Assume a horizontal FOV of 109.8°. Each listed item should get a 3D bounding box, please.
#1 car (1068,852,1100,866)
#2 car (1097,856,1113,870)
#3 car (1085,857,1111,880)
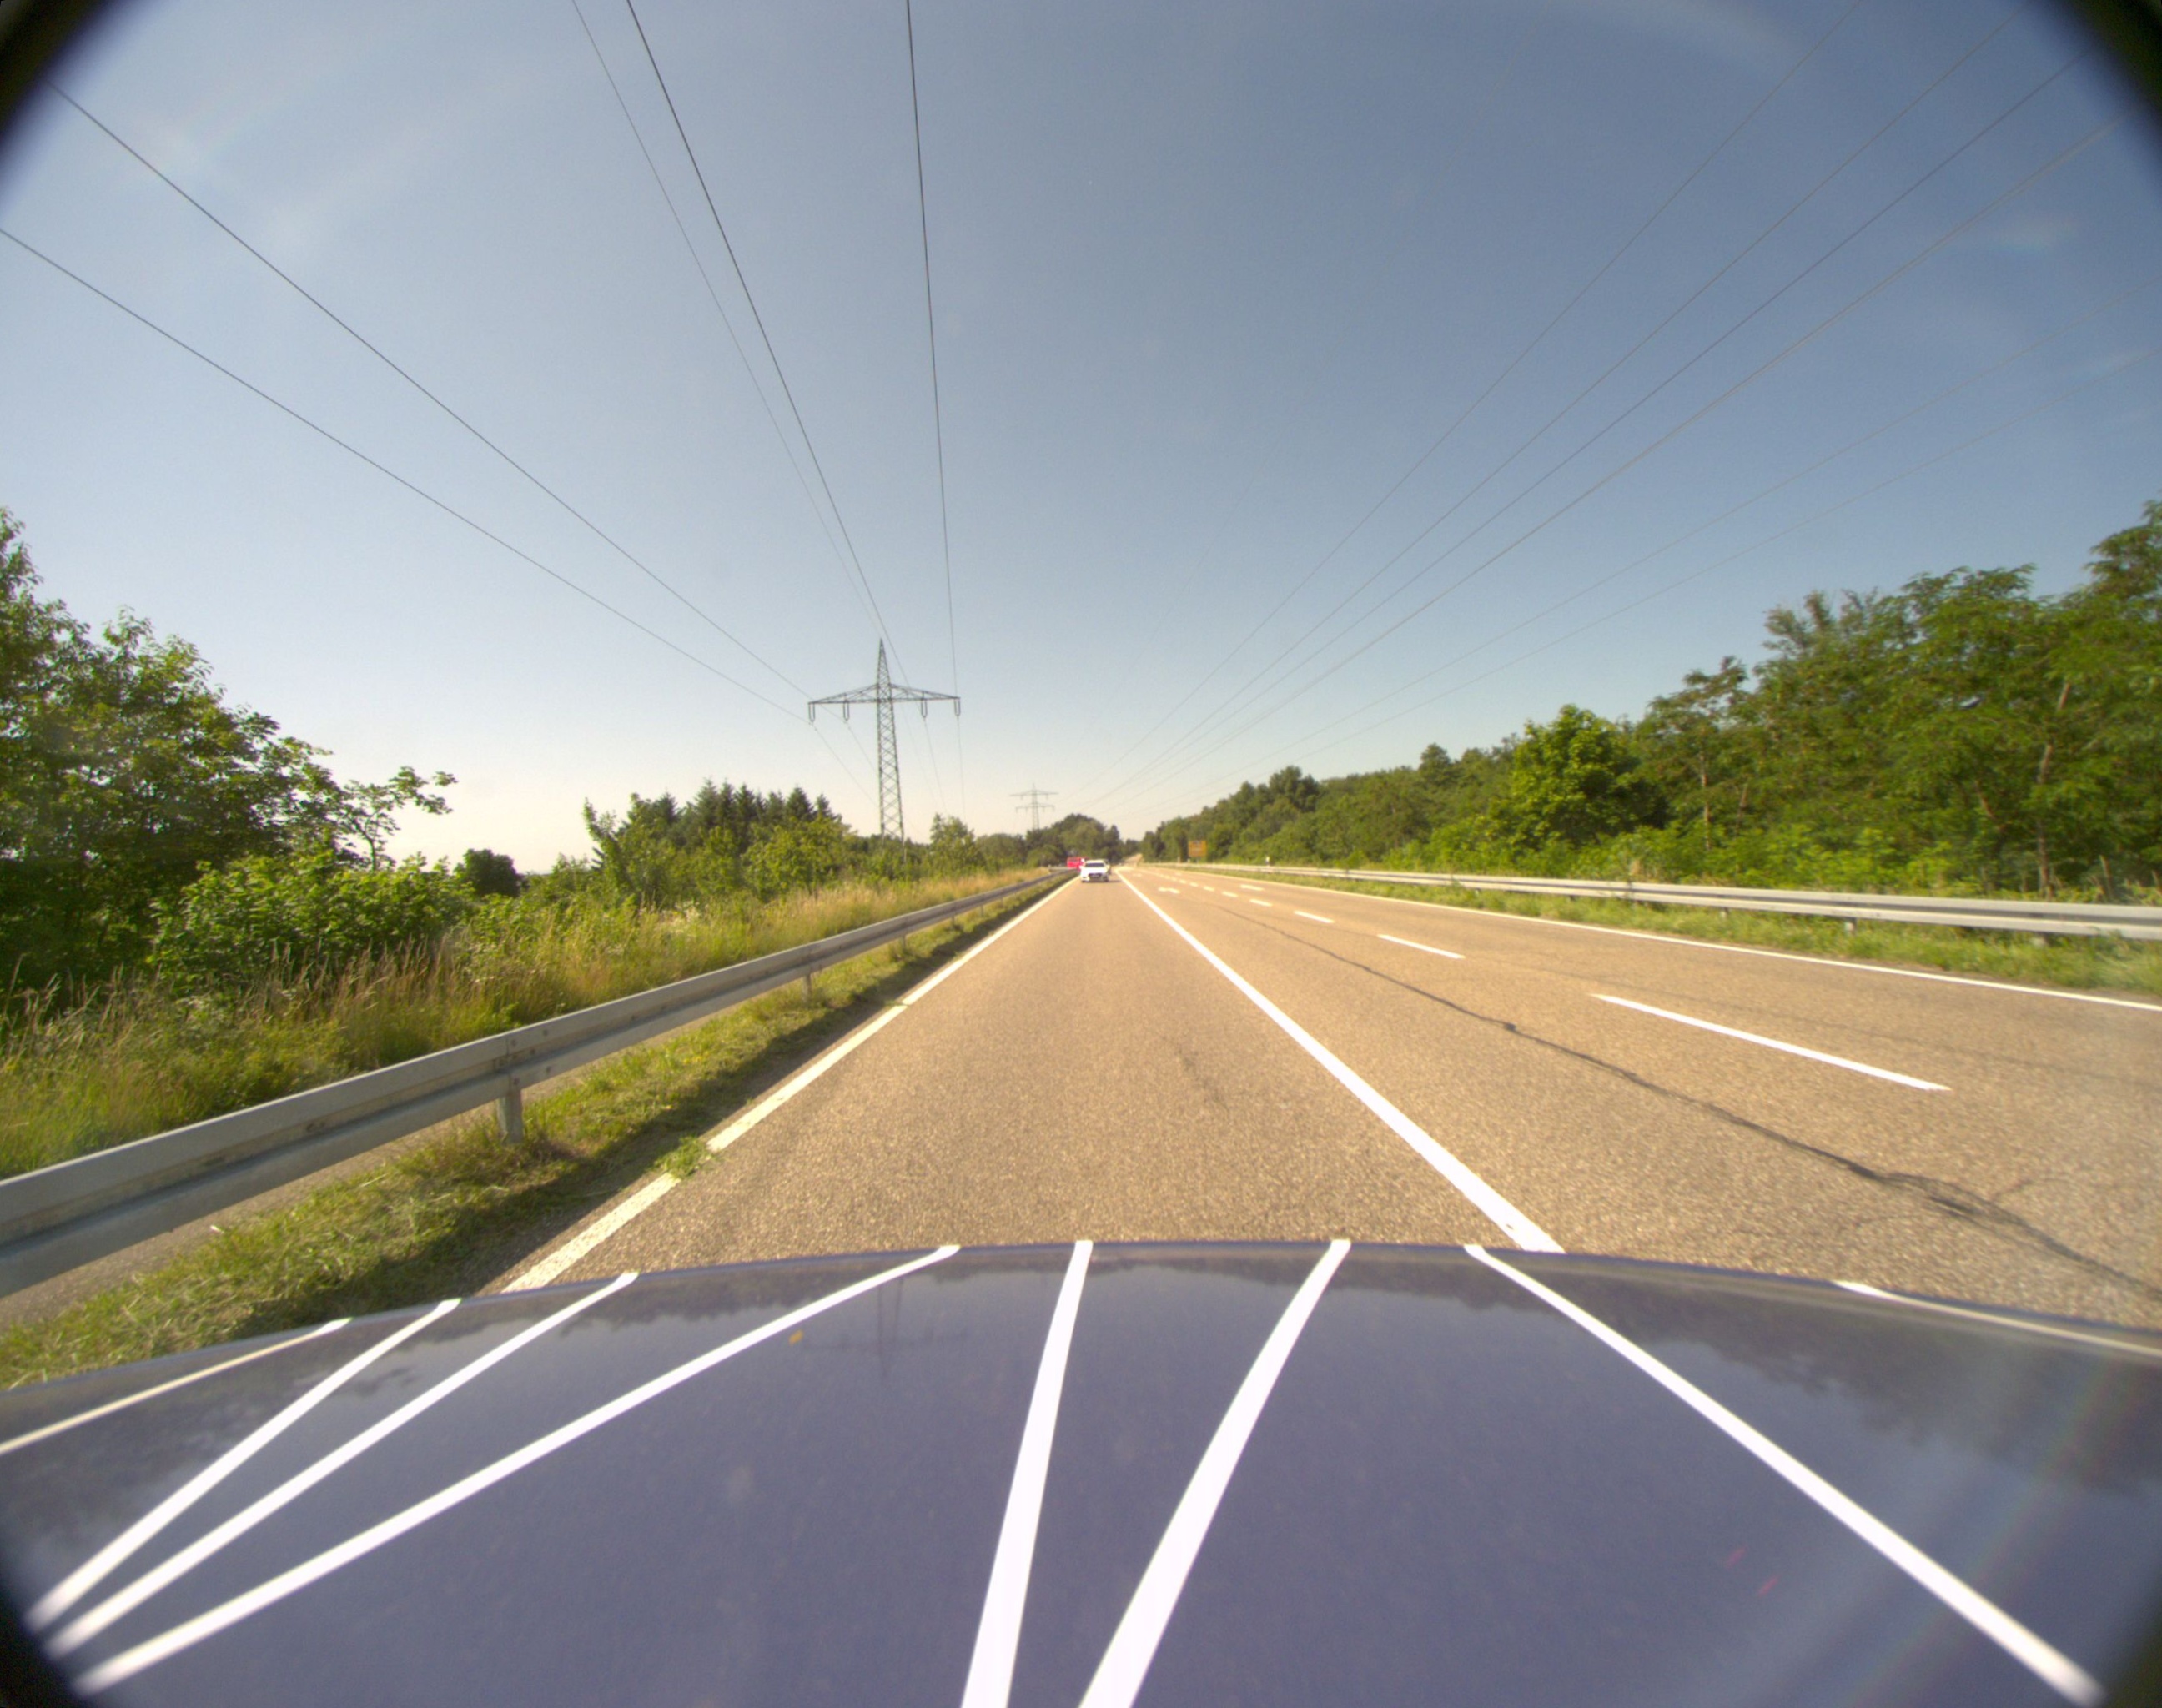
[{"bbox_3d":[0.413,0.709,104.454,1.799,1.892,4.826,-1,0,-36],"label":"car"},{"bbox_3d":[2.497,0.920,79.045,1.549,1.460,3.661,-2,0,0],"label":"car"},{"bbox_3d":[1.139,0.960,51.961,1.683,1.471,4.473,-1,0,1],"label":"car"}]
